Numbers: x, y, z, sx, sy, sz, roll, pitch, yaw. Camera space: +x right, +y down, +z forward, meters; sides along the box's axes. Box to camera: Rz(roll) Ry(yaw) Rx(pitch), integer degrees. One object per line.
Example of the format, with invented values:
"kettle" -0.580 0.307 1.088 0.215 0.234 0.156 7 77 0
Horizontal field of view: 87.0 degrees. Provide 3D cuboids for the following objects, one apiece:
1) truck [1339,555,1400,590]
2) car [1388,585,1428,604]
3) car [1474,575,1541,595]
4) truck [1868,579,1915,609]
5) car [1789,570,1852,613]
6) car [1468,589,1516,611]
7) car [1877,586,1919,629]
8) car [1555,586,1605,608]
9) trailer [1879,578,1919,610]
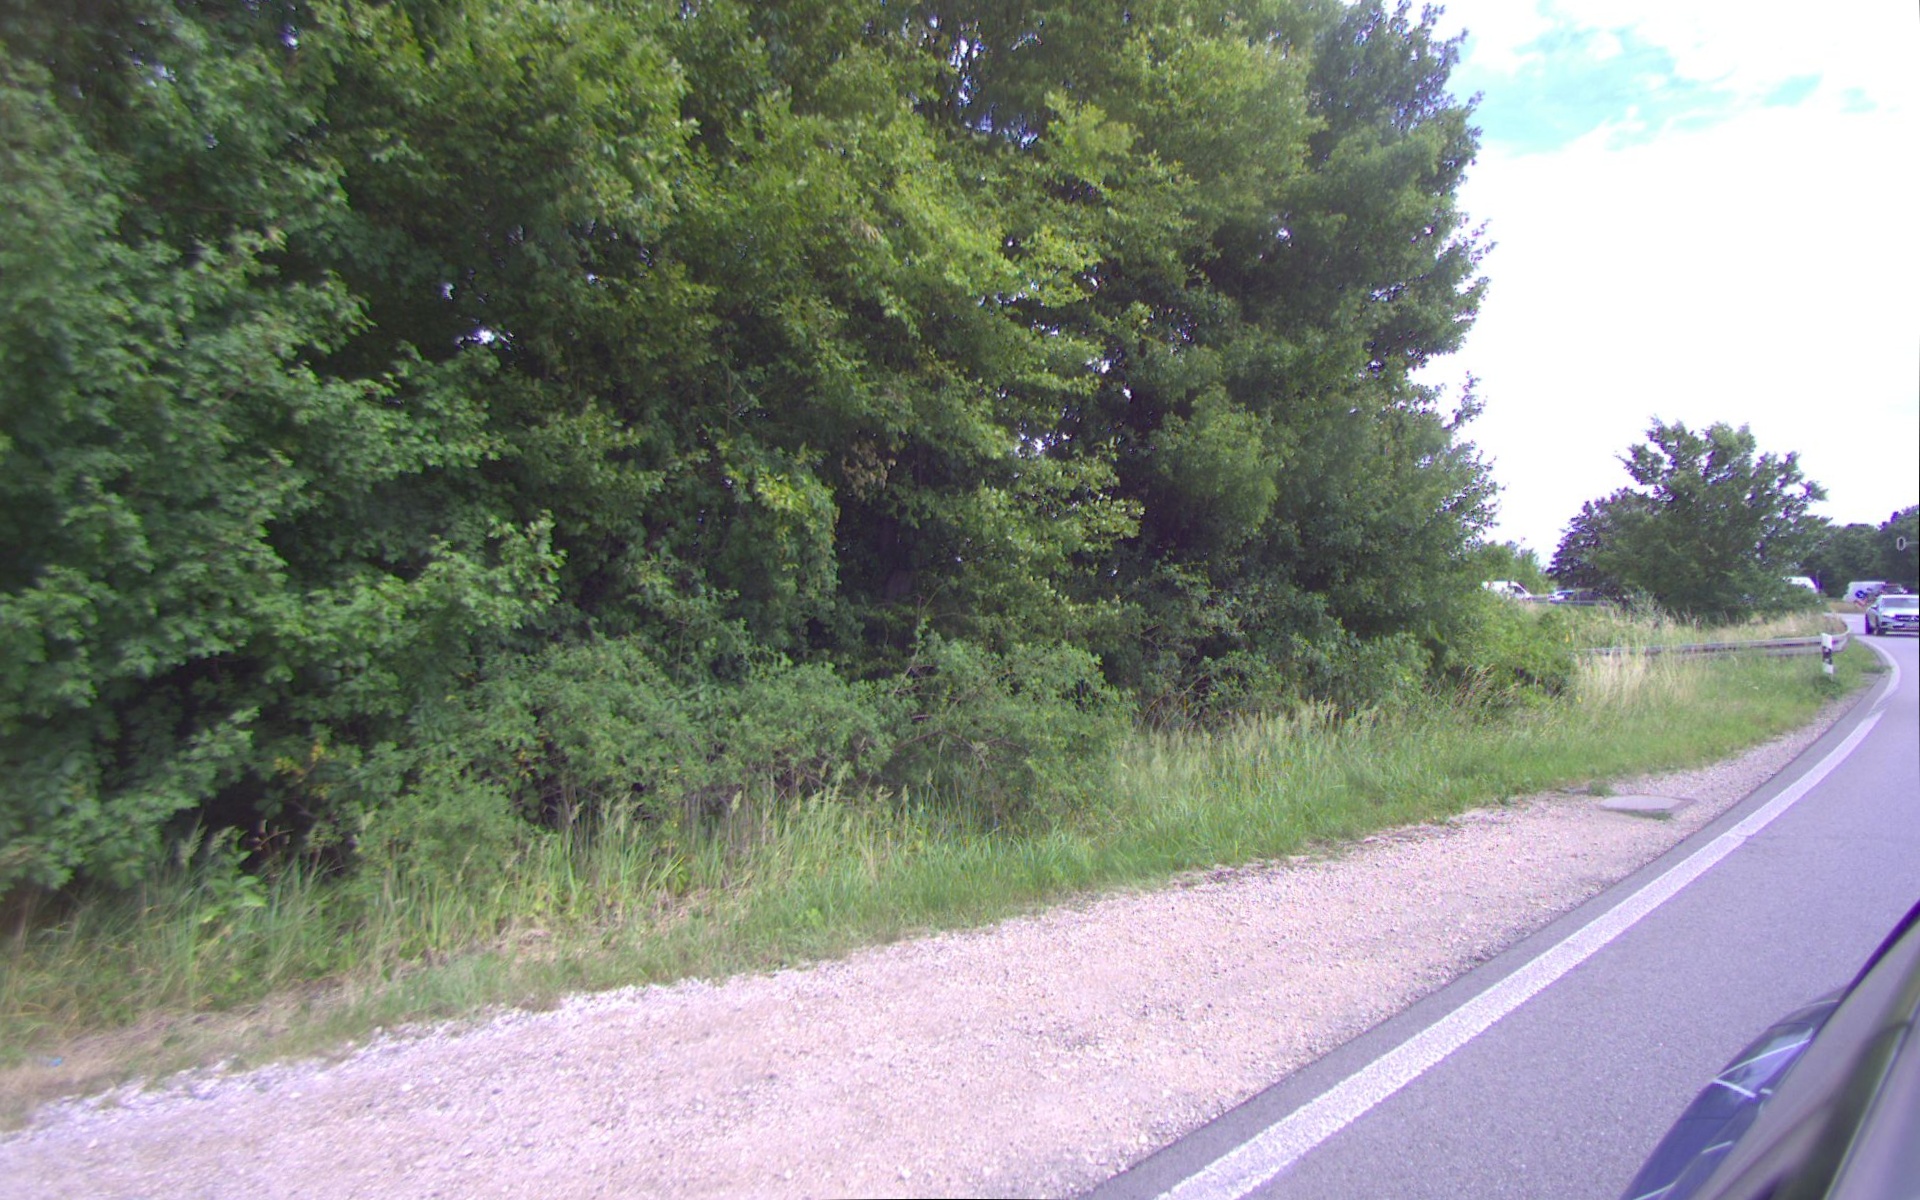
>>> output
"truck" 40.939 -2.762 101.341 5.528 3.347 2.375 0 -1 21
"car" 48.848 -0.628 110.368 3.958 2.039 1.914 0 0 25
"car" 55.567 -1.517 102.799 5.836 2.039 2.043 0 0 25
"truck" 77.976 -0.515 84.815 2.014 2.475 4.966 0 0 32
"car" 57.946 -0.511 68.236 2.201 2.705 5.184 -1 -2 29
"car" 51.087 -0.032 97.250 3.958 2.039 1.914 1 0 25
"car" 37.726 0.290 39.859 2.011 1.633 4.222 0 0 37
"car" 59.709 -0.302 97.484 3.962 2.039 1.981 1 0 28
"trailer" 75.235 -0.486 80.510 2.015 2.475 6.884 0 0 33
